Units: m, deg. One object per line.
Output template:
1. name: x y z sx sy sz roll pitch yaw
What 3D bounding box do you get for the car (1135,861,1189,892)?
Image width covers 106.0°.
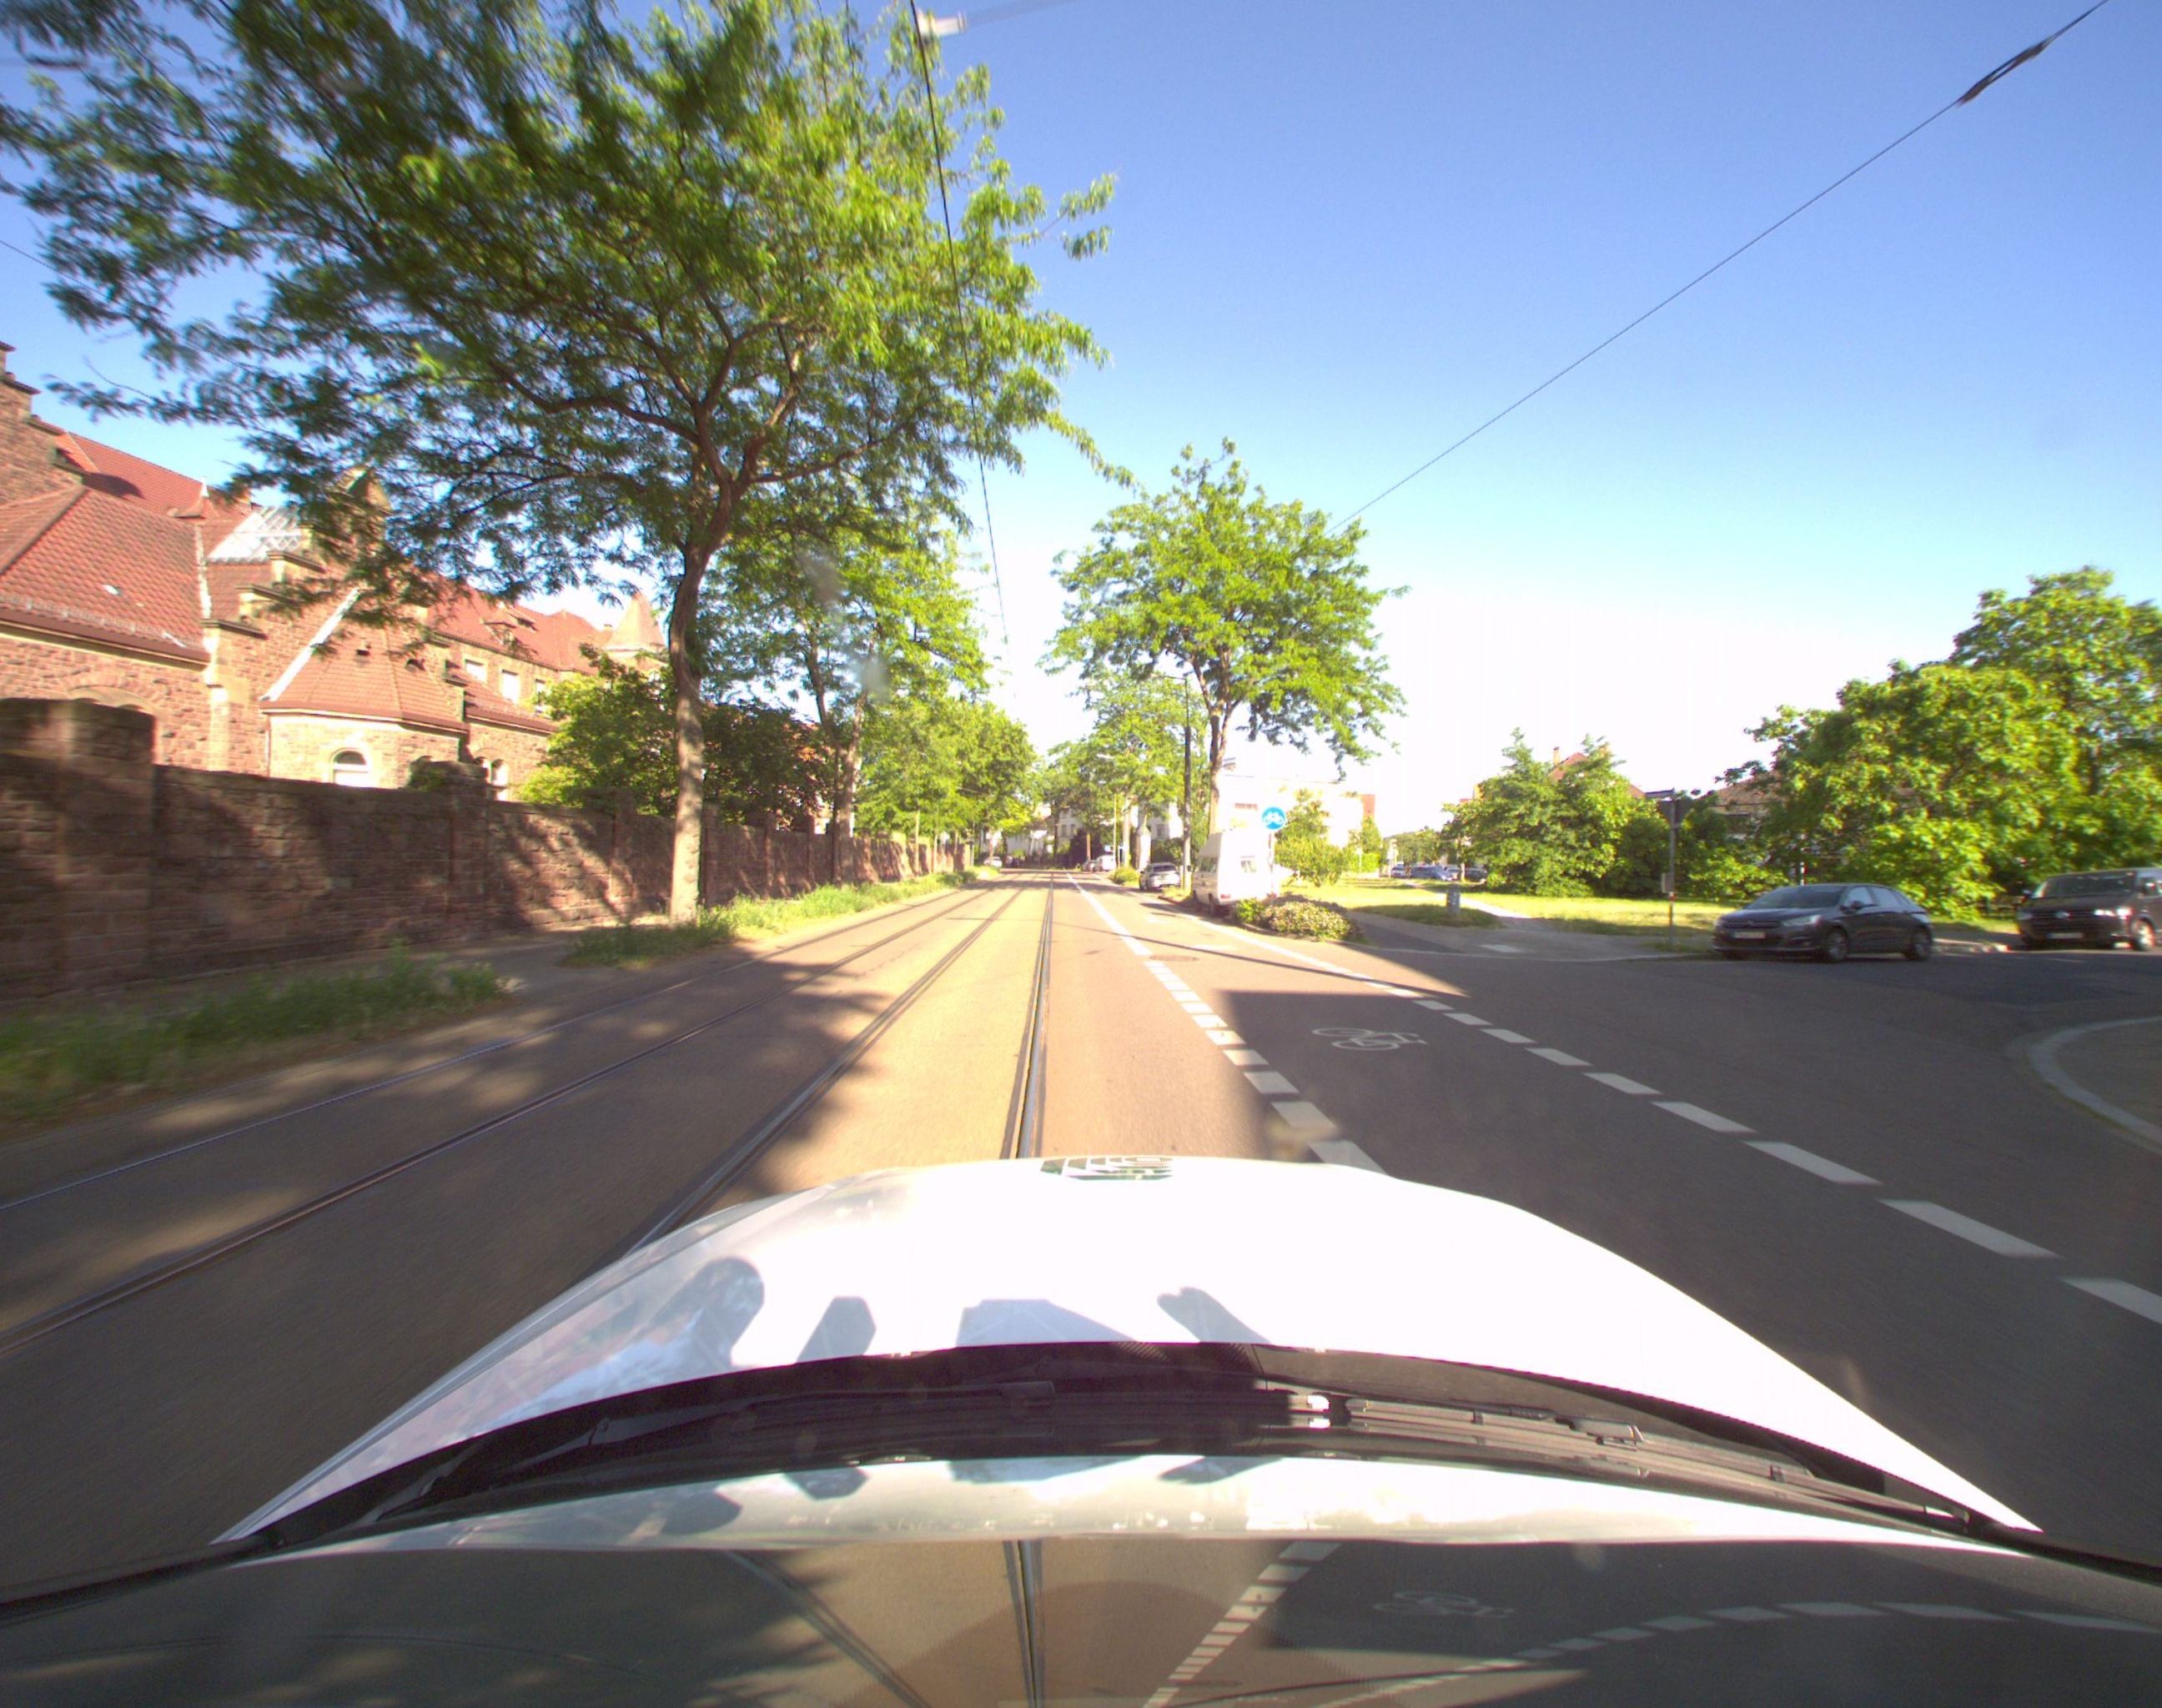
1. car: 4.212 1.143 43.294 1.996 1.465 5.426 -3 0 -3

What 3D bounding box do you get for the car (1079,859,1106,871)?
1. car: 1.346 1.287 99.445 1.999 1.423 4.306 1 -1 -18

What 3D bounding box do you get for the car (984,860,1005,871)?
1. car: -13.400 1.739 125.319 1.902 1.611 4.192 2 -3 -26

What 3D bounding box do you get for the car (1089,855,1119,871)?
1. car: 2.644 1.055 93.608 2.027 1.747 4.724 1 0 -17

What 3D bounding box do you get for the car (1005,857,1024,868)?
1. car: -10.703 1.351 130.930 1.811 1.694 4.695 -2 1 -21

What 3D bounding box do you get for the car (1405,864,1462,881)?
1. car: 32.048 1.673 74.240 2.065 1.471 4.722 1 -1 -21

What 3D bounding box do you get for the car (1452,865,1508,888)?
1. car: 33.175 1.850 67.815 1.999 1.780 3.976 1 -1 -18

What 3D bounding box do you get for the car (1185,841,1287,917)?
1. car: 4.618 0.713 24.989 1.989 2.095 4.710 1 0 -4

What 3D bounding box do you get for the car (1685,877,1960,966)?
1. car: 14.077 1.223 15.494 4.463 1.490 1.995 1 -4 -20

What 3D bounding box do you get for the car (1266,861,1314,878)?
1. car: 20.731 1.556 80.965 4.286 1.511 1.831 1 -3 -14

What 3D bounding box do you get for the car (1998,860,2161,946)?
1. car: 25.173 1.173 19.807 5.213 1.885 2.086 2 -1 -20

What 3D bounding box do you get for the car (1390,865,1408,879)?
1. car: 39.910 2.269 102.271 2.028 1.708 4.310 1 -1 21
